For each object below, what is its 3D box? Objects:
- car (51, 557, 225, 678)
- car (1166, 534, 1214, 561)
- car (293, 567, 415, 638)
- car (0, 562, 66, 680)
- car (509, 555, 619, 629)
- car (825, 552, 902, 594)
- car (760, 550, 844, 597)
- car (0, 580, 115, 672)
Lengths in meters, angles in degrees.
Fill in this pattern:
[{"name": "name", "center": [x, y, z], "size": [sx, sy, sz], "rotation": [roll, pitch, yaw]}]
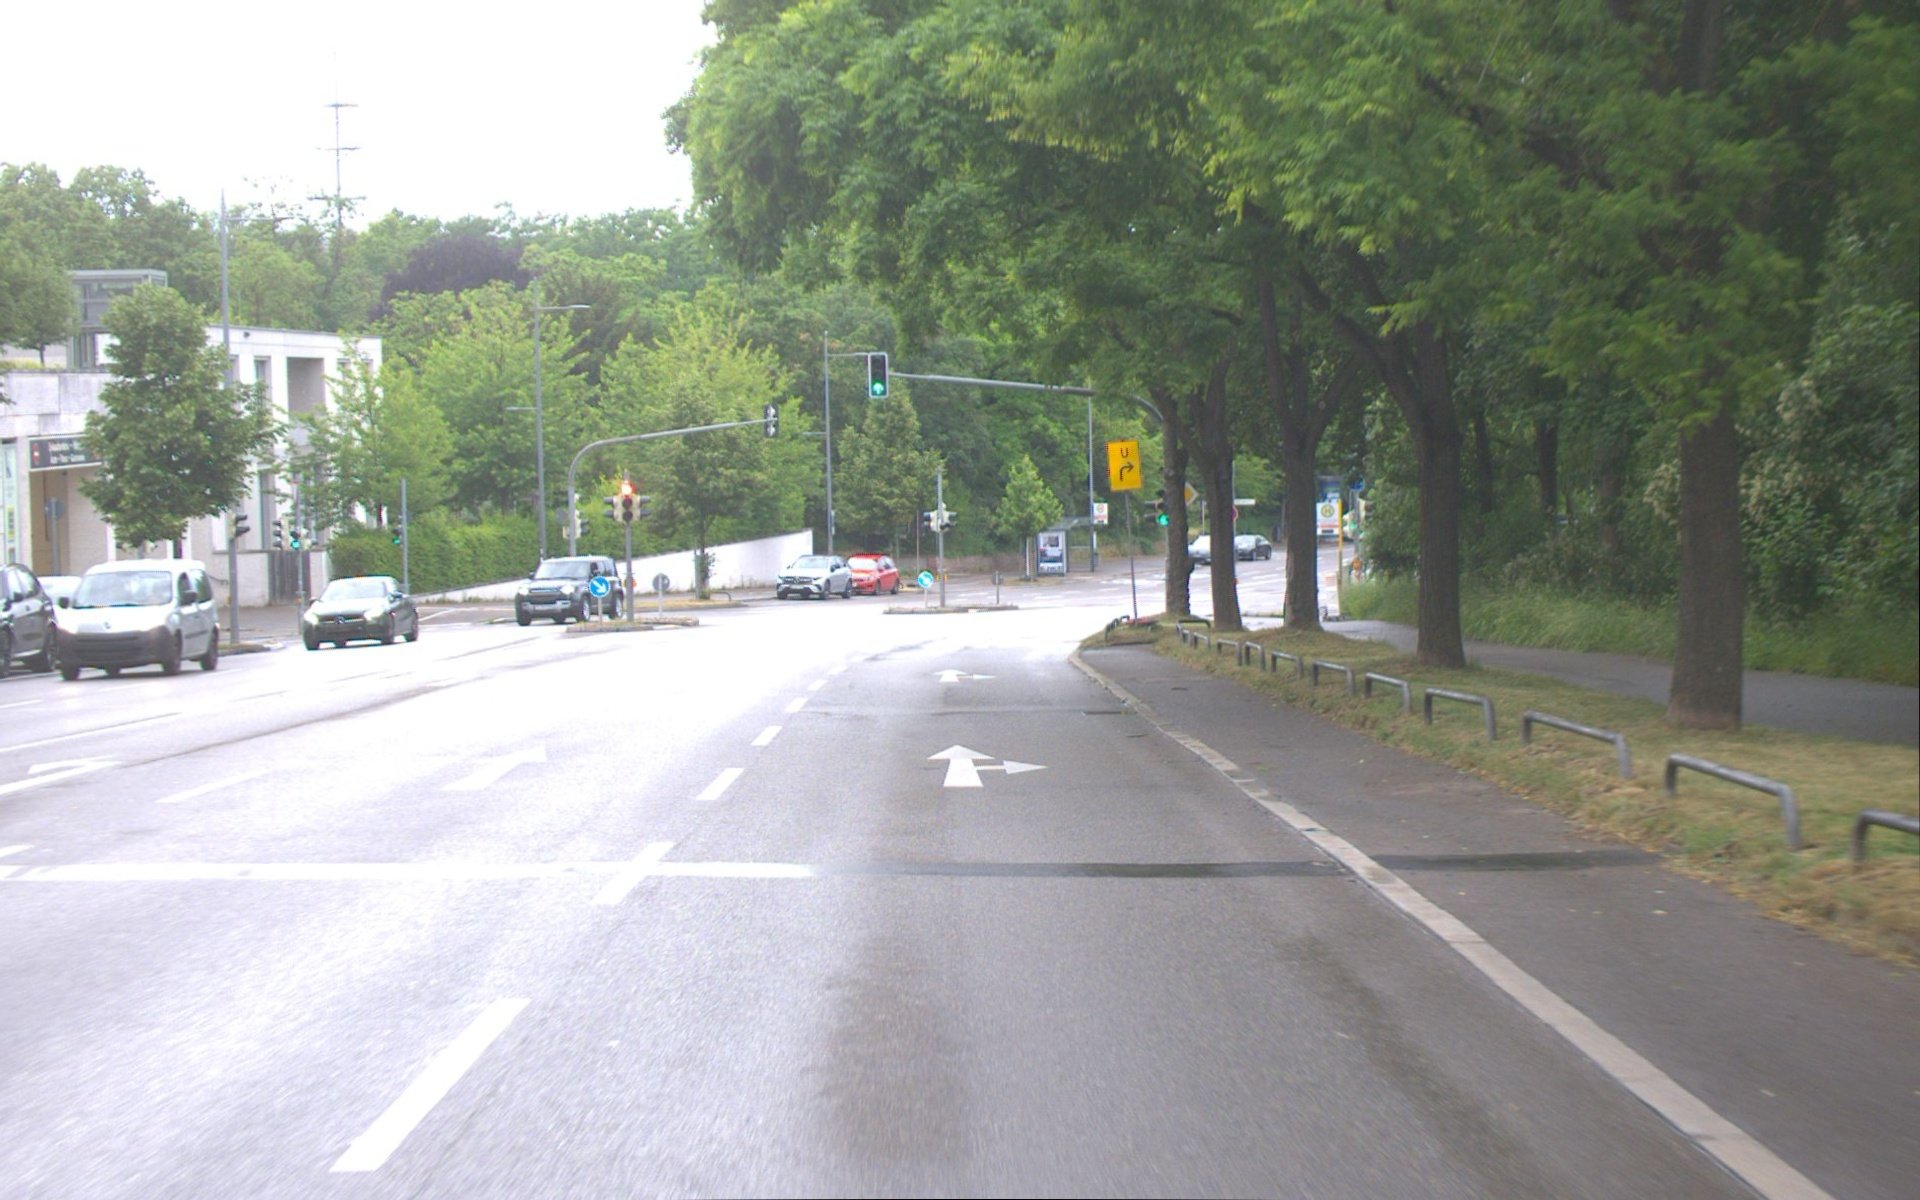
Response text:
[{"name": "car", "center": [-12.682, 0.237, 53.263], "size": [1.710, 1.740, 4.338], "rotation": [-1, 1, -1]}, {"name": "car", "center": [12.601, -2.860, 188.437], "size": [1.714, 1.455, 3.747], "rotation": [1, 1, 18]}, {"name": "car", "center": [-12.660, 0.030, 72.033], "size": [1.770, 1.376, 4.190], "rotation": [-3, 1, 0]}, {"name": "car", "center": [-15.511, 0.321, 54.005], "size": [1.856, 1.775, 4.597], "rotation": [-2, 1, -2]}, {"name": "car", "center": [-11.167, -0.244, 97.249], "size": [1.921, 1.851, 4.505], "rotation": [-4, 1, 8]}, {"name": "car", "center": [-3.818, -1.079, 136.375], "size": [1.876, 1.569, 4.220], "rotation": [2, 1, 15]}, {"name": "car", "center": [-5.922, -1.023, 129.447], "size": [1.854, 1.634, 4.090], "rotation": [3, 2, 17]}, {"name": "car", "center": [-15.910, 0.424, 59.485], "size": [1.679, 1.510, 3.710], "rotation": [0, 1, 0]}]
